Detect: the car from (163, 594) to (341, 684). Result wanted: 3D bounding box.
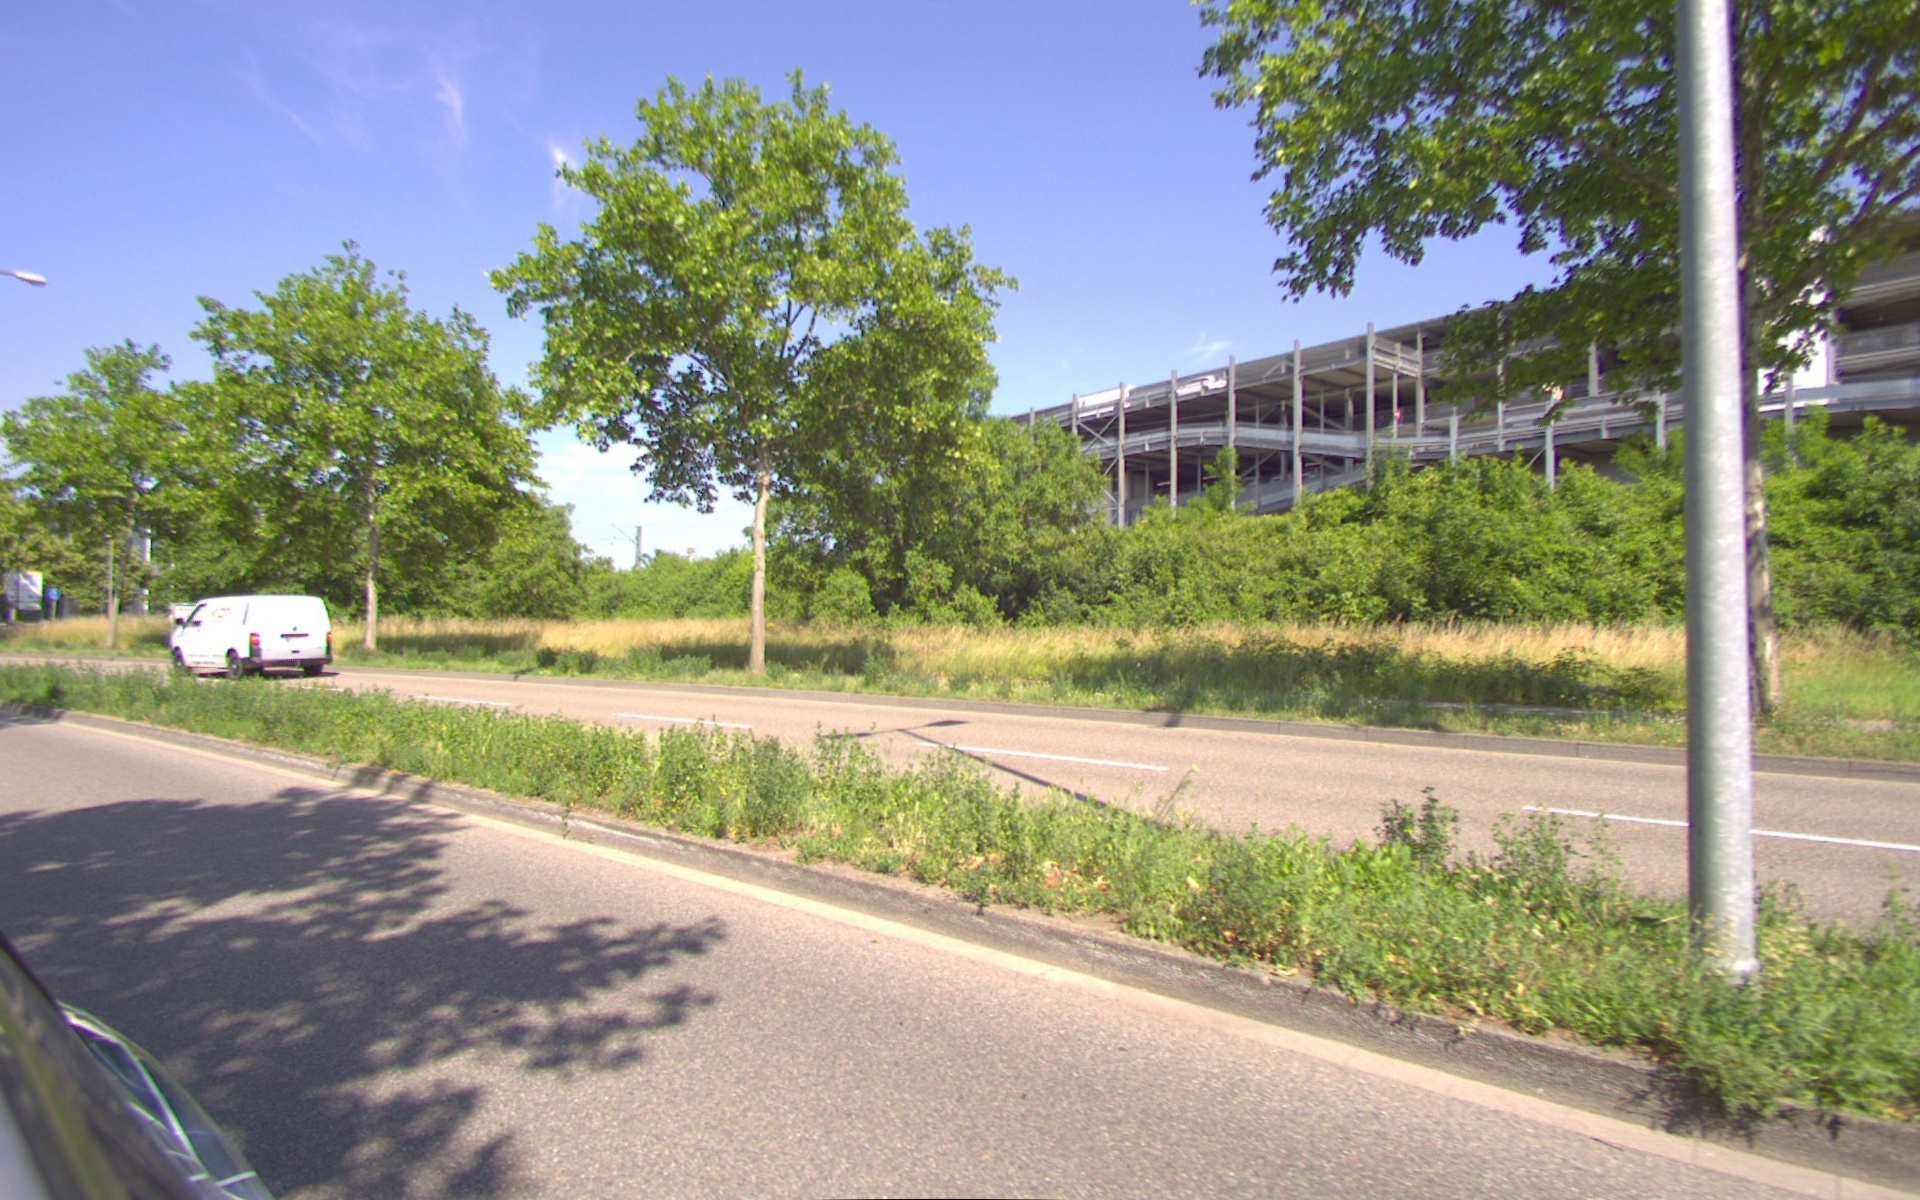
[{"bbox_3d":[-17.387,0.914,24.809,4.500,2.029,1.979,-1,-1,32],"label":"car"}]
